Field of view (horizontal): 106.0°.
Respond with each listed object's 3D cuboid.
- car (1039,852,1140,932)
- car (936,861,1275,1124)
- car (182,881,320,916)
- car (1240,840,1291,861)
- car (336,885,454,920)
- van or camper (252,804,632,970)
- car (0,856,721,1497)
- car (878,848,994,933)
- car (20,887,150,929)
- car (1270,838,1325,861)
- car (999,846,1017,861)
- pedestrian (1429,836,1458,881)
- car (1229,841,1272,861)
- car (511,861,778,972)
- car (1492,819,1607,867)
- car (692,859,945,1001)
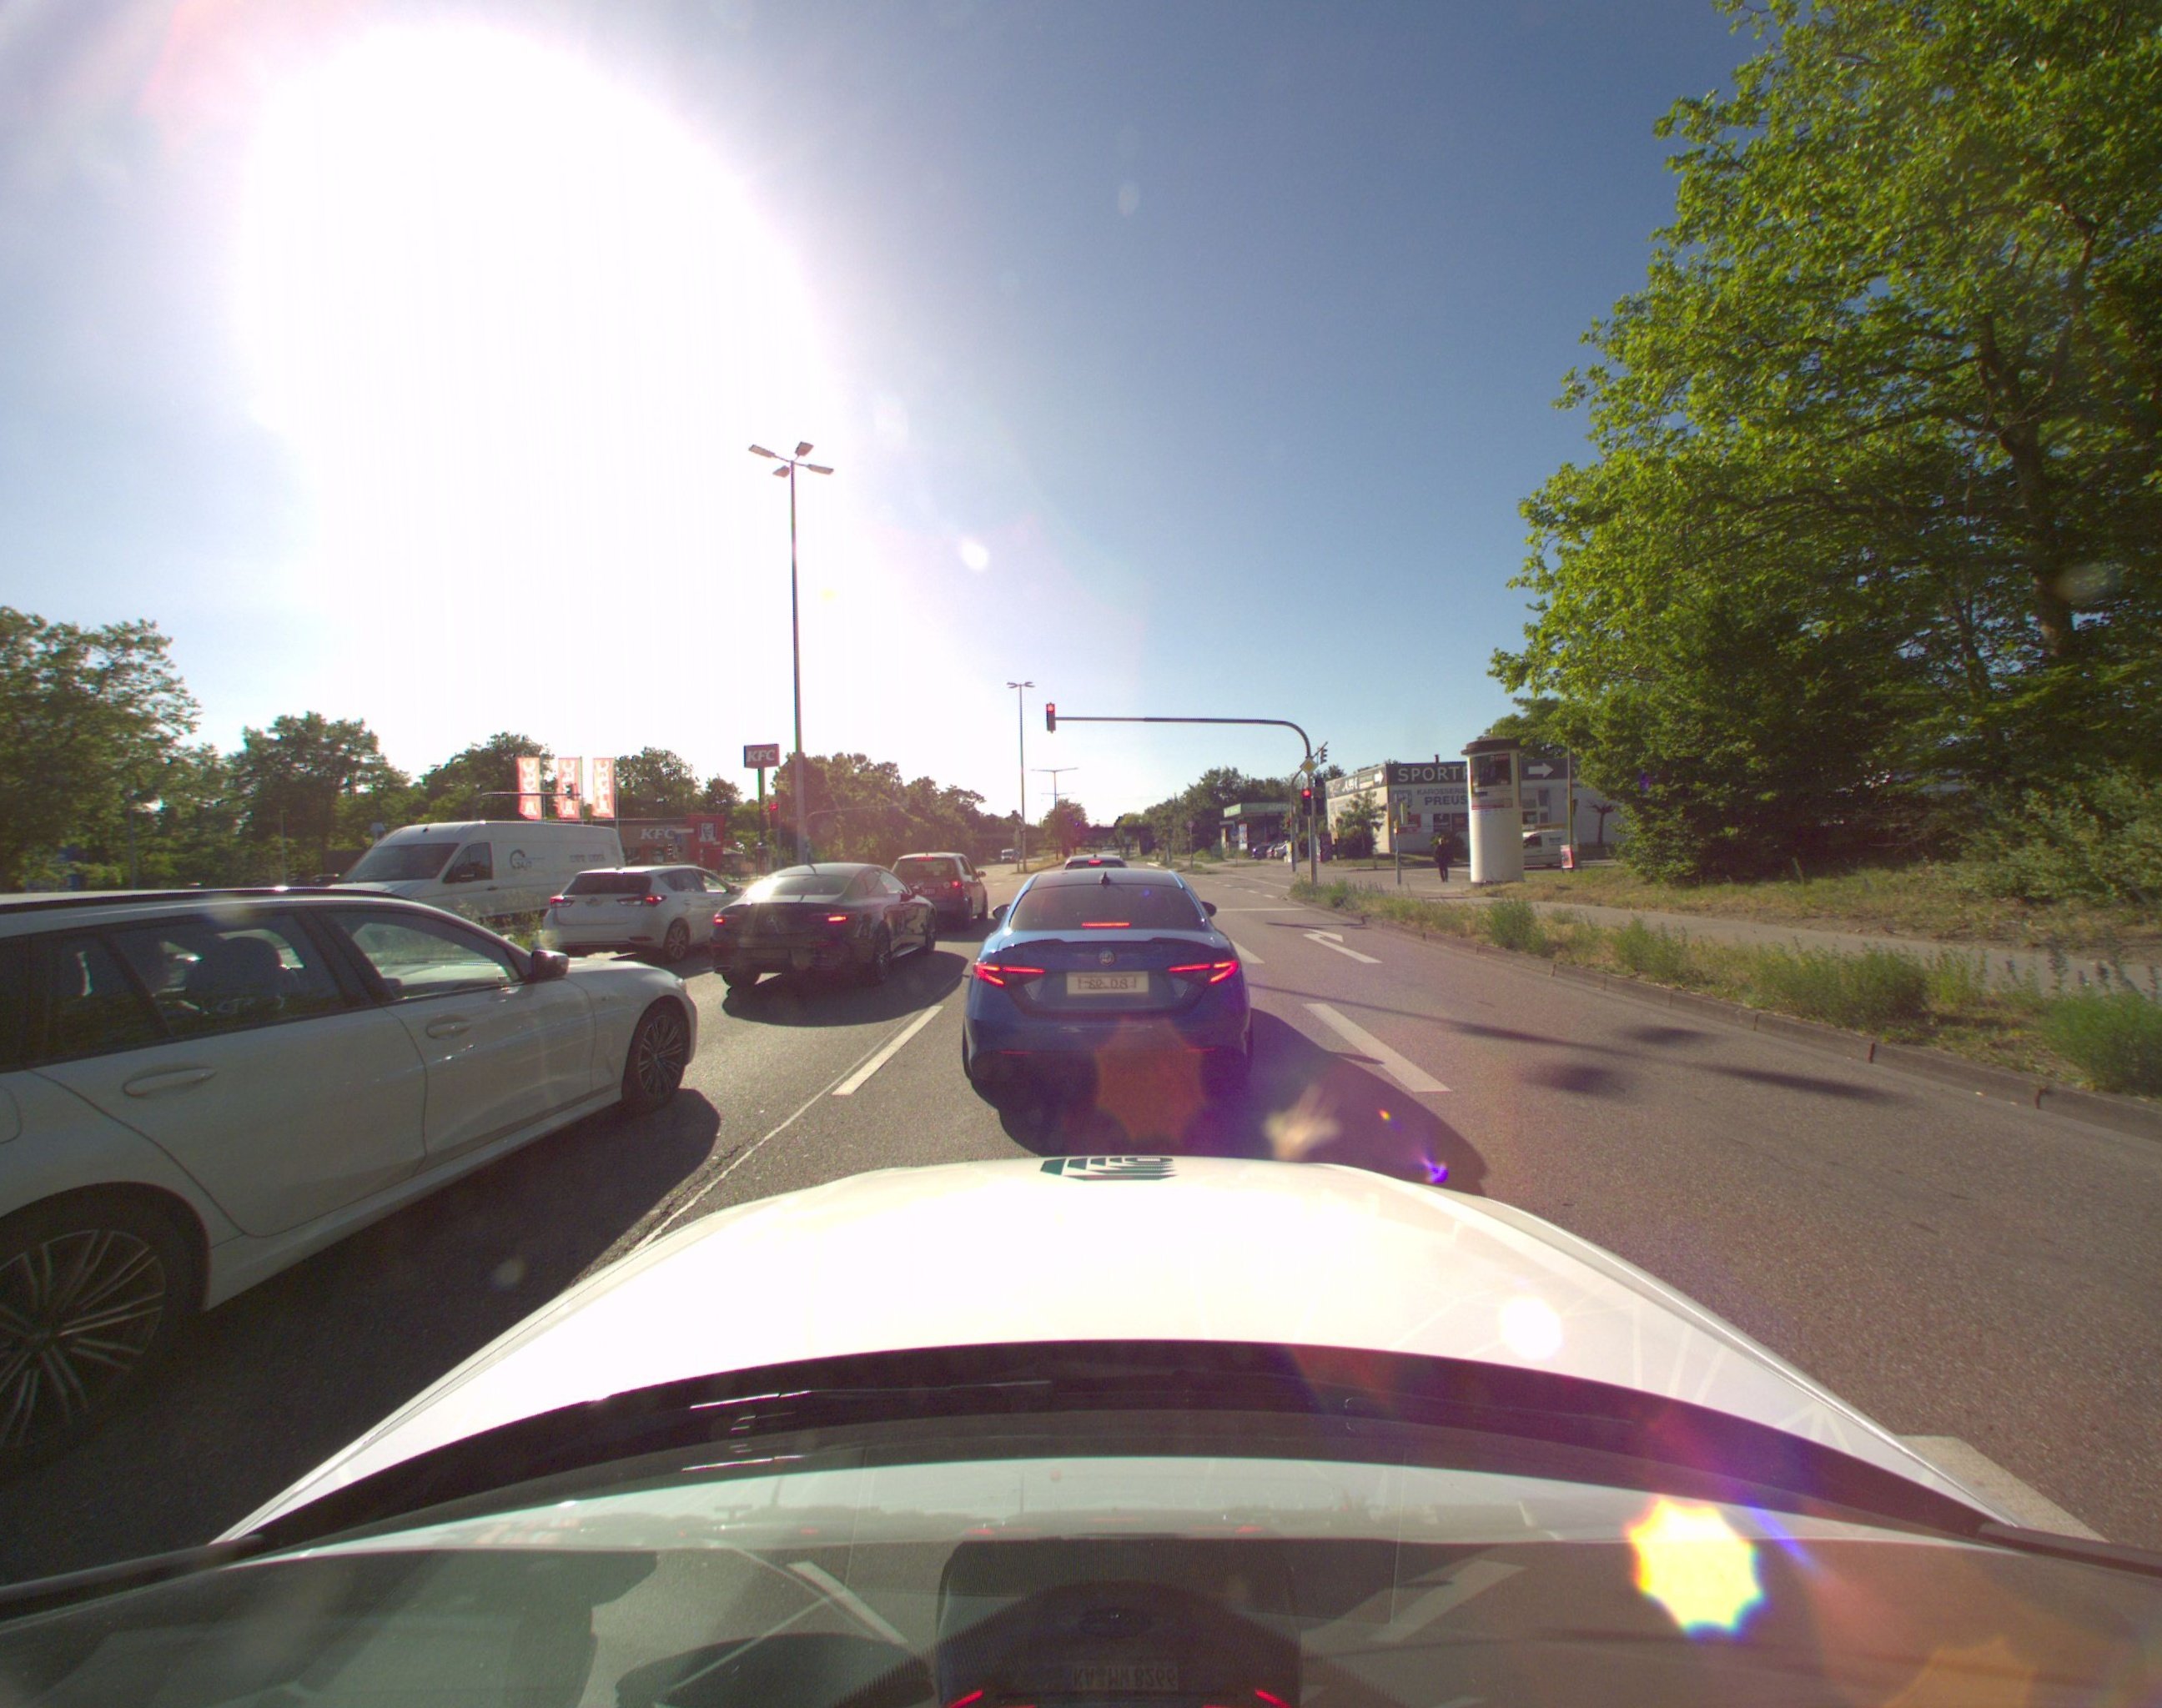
[{"bbox_3d":[0.228,0.704,17.191,1.859,1.450,3.933,-1,0,2],"label":"car"},{"bbox_3d":[0.197,0.790,6.492,1.859,1.385,3.933,-1,0,2],"label":"car"},{"bbox_3d":[-39.250,2.089,38.575,4.701,1.429,1.865,-1,1,2],"label":"car"},{"bbox_3d":[16.041,-0.286,70.752,3.997,1.706,1.685,-1,0,-18],"label":"car"},{"bbox_3d":[-32.096,2.242,38.164,4.019,1.429,1.826,-2,0,3],"label":"car"},{"bbox_3d":[-12.297,0.543,16.675,2.170,2.572,6.756,-3,0,2],"label":"van or camper"},{"bbox_3d":[-3.435,0.800,3.355,1.762,1.509,4.463,-1,0,2],"label":"car"},{"bbox_3d":[-3.016,0.702,17.717,1.642,1.598,3.933,-1,0,2],"label":"car"},{"bbox_3d":[-47.100,2.534,38.555,3.972,1.728,1.759,-1,0,1],"label":"car"},{"bbox_3d":[17.511,-0.356,65.858,3.993,1.706,1.687,-1,0,-15],"label":"car"},{"bbox_3d":[-12.268,-0.137,136.631,2.423,2.427,5.831,-2,0,0],"label":"car"},{"bbox_3d":[14.129,0.186,31.779,0.818,1.721,0.856,-2,0,9],"label":"pedestrian"},{"bbox_3d":[15.384,-0.250,73.961,3.489,1.706,1.687,-1,0,-14],"label":"car"},{"bbox_3d":[-6.805,0.872,13.357,1.850,1.429,4.405,-1,0,2],"label":"car"},{"bbox_3d":[22.629,-0.519,39.458,4.393,2.145,1.999,-1,0,-2],"label":"car"},{"bbox_3d":[-3.147,0.815,10.827,1.762,1.414,4.463,-1,0,2],"label":"car"}]
